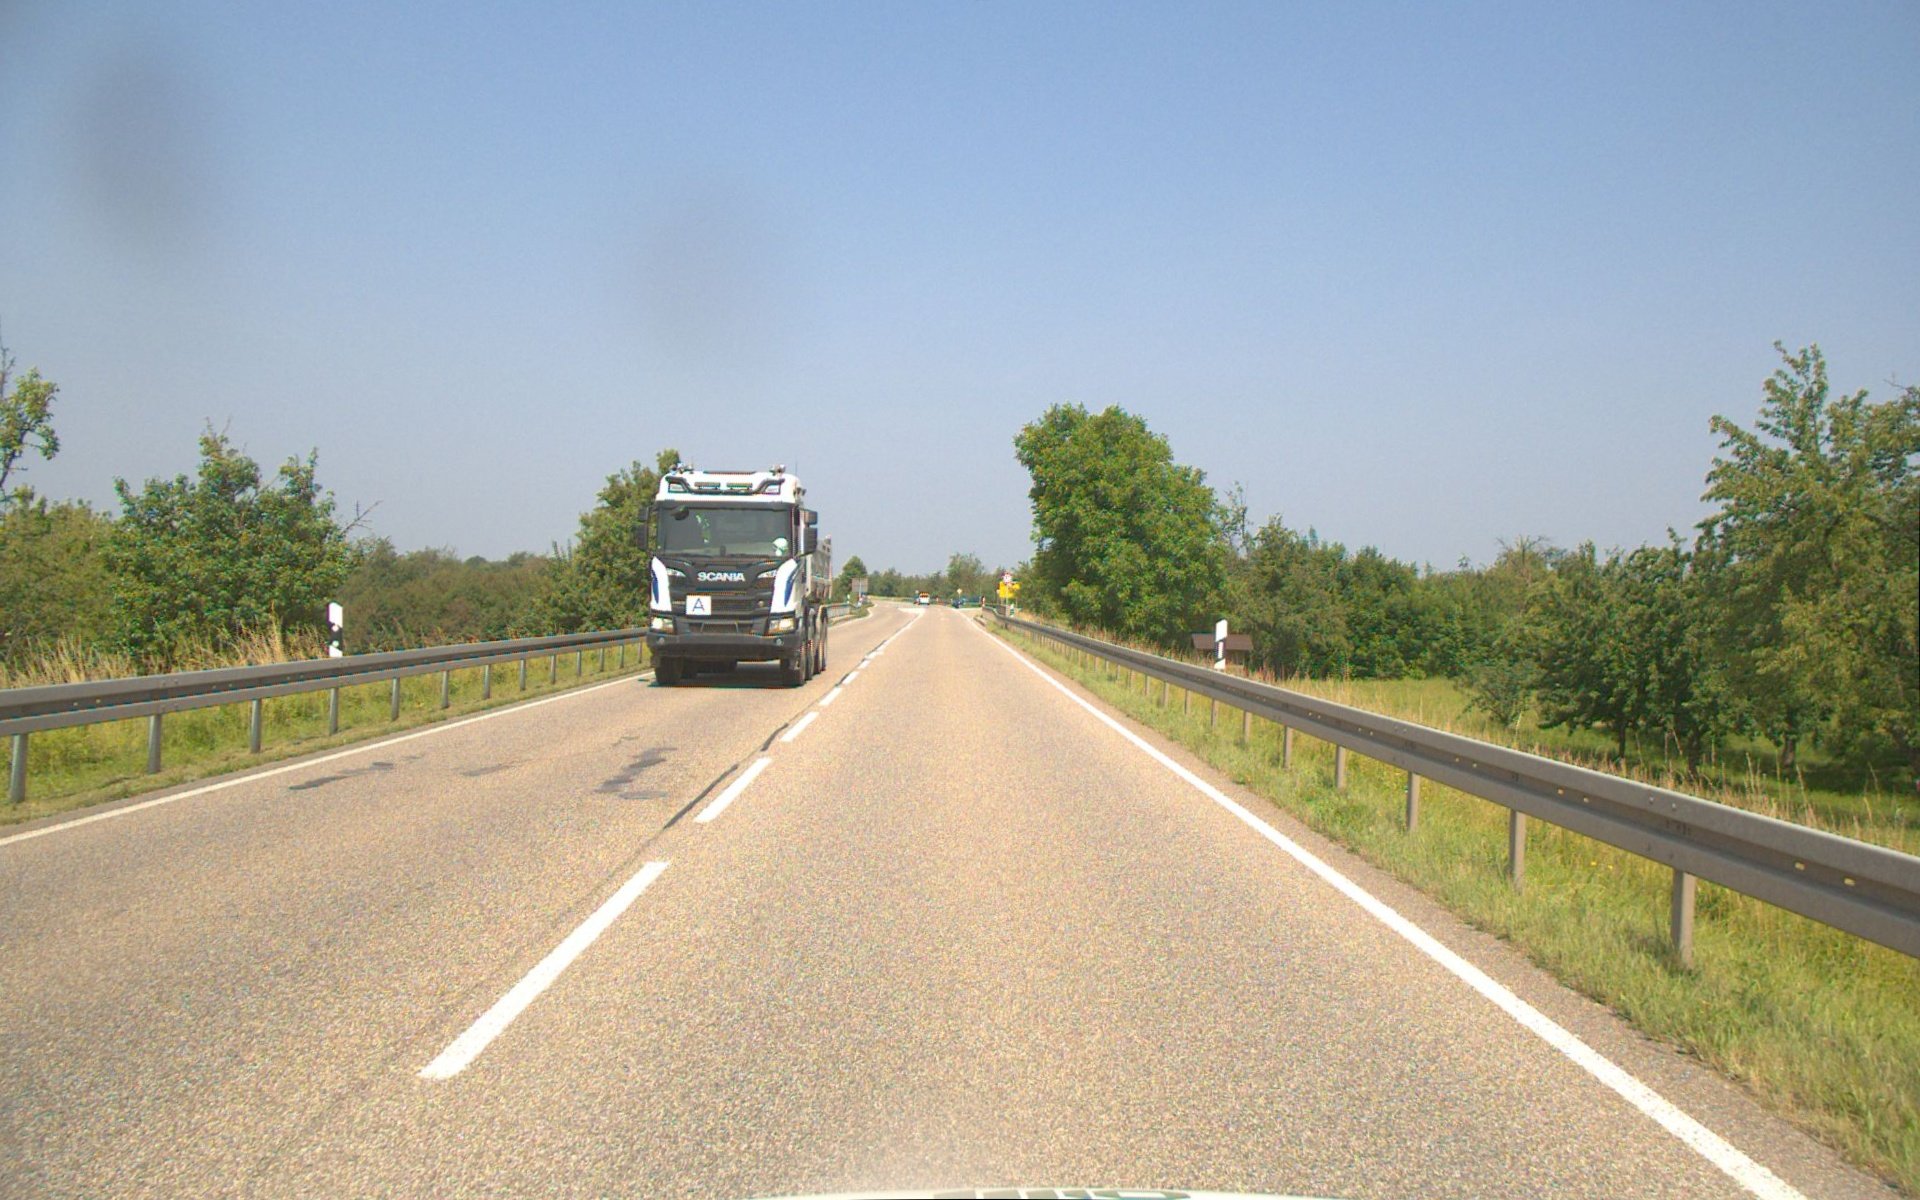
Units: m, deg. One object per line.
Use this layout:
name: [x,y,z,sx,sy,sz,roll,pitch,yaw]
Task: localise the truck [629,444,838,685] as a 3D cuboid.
truck: [-3.892,-0.524,30.589,2.672,3.736,9.380,1,0,-1]
